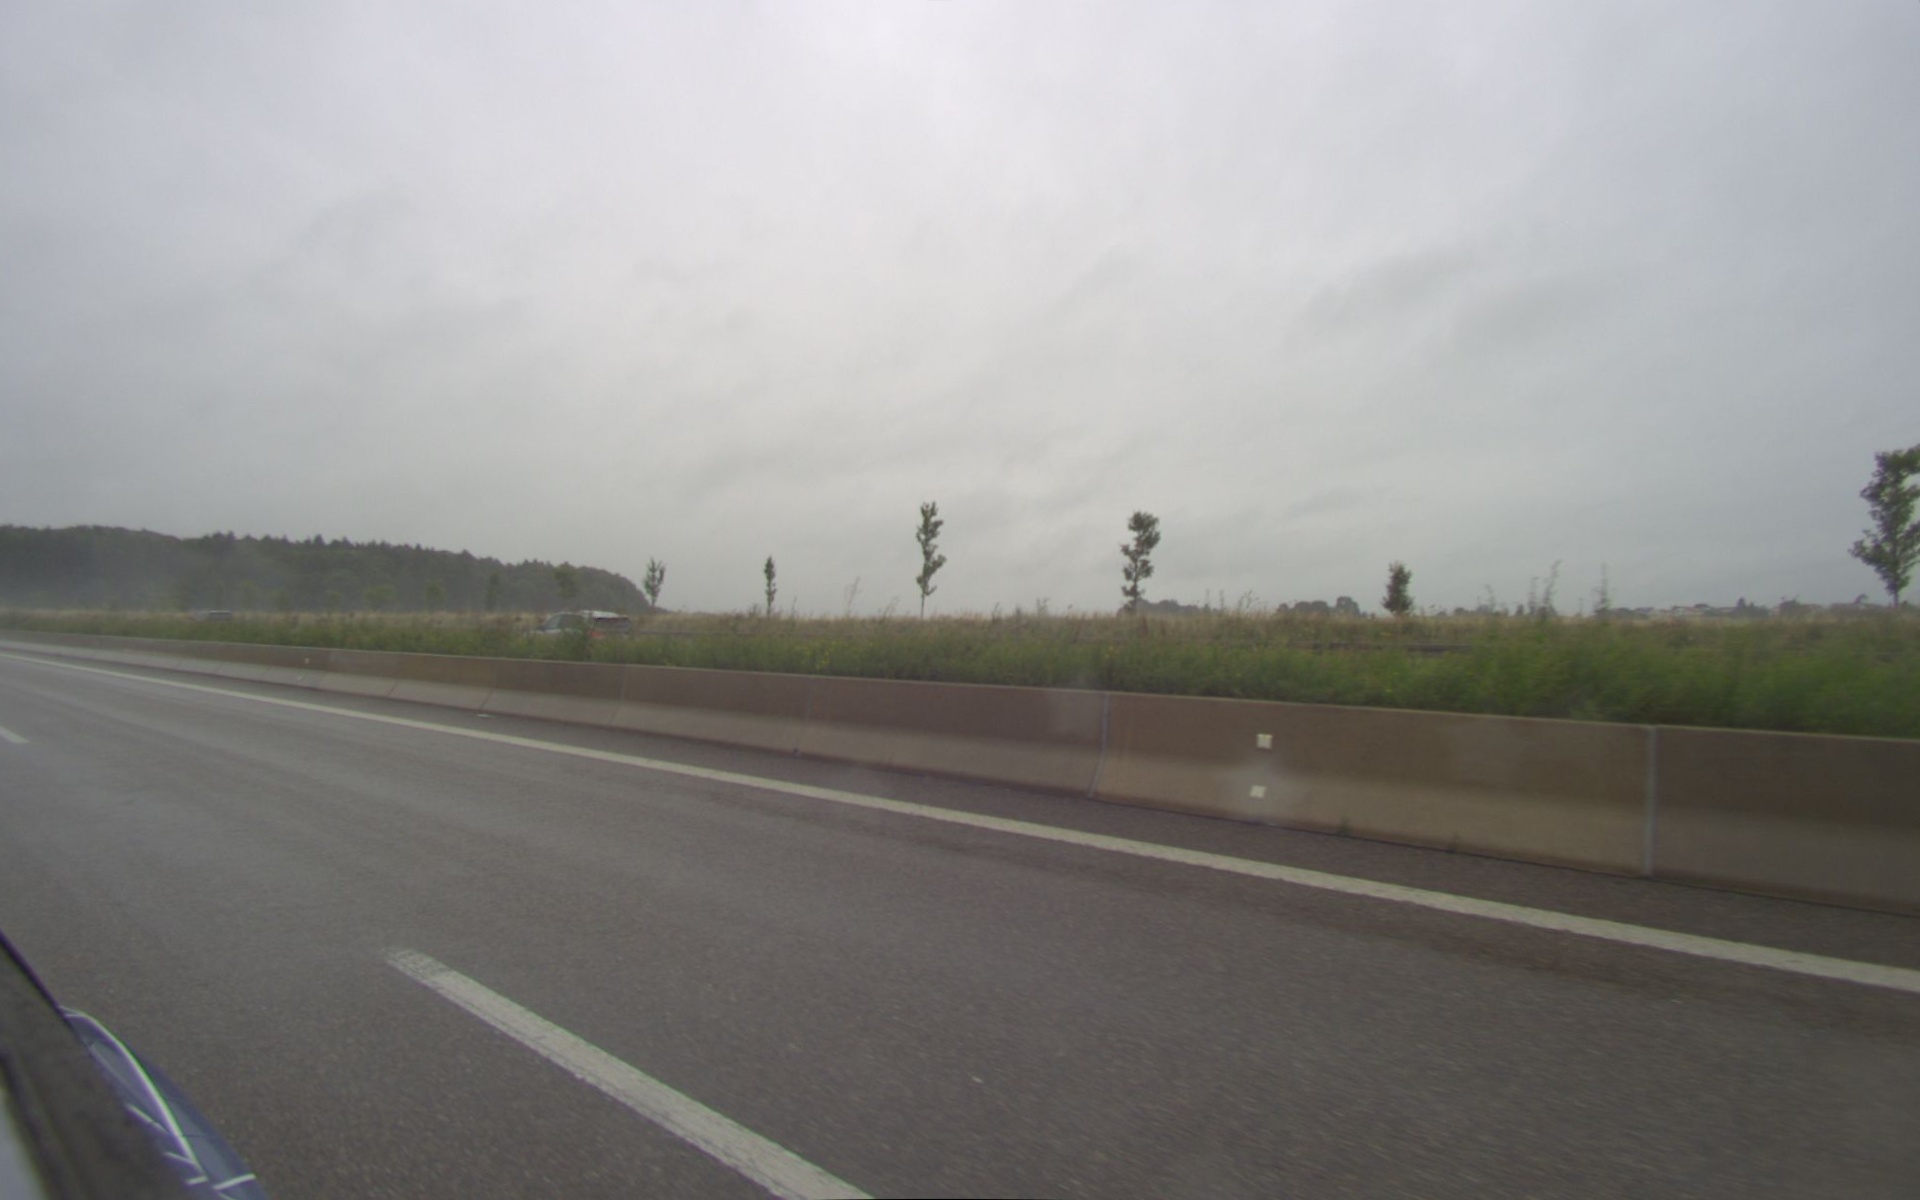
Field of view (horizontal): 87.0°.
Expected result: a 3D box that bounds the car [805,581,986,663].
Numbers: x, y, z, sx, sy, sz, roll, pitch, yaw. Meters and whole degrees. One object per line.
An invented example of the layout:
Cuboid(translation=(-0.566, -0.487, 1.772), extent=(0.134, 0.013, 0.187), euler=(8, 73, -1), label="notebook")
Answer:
Cuboid(translation=(-1.364, 0.429, 20.314), extent=(3.825, 1.491, 1.306), euler=(-1, -1, 41), label="car")

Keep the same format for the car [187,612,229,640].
Cuboid(translation=(-48.259, 1.637, 64.962), extent=(3.170, 1.740, 1.480), euler=(-1, -1, 40), label="car")
